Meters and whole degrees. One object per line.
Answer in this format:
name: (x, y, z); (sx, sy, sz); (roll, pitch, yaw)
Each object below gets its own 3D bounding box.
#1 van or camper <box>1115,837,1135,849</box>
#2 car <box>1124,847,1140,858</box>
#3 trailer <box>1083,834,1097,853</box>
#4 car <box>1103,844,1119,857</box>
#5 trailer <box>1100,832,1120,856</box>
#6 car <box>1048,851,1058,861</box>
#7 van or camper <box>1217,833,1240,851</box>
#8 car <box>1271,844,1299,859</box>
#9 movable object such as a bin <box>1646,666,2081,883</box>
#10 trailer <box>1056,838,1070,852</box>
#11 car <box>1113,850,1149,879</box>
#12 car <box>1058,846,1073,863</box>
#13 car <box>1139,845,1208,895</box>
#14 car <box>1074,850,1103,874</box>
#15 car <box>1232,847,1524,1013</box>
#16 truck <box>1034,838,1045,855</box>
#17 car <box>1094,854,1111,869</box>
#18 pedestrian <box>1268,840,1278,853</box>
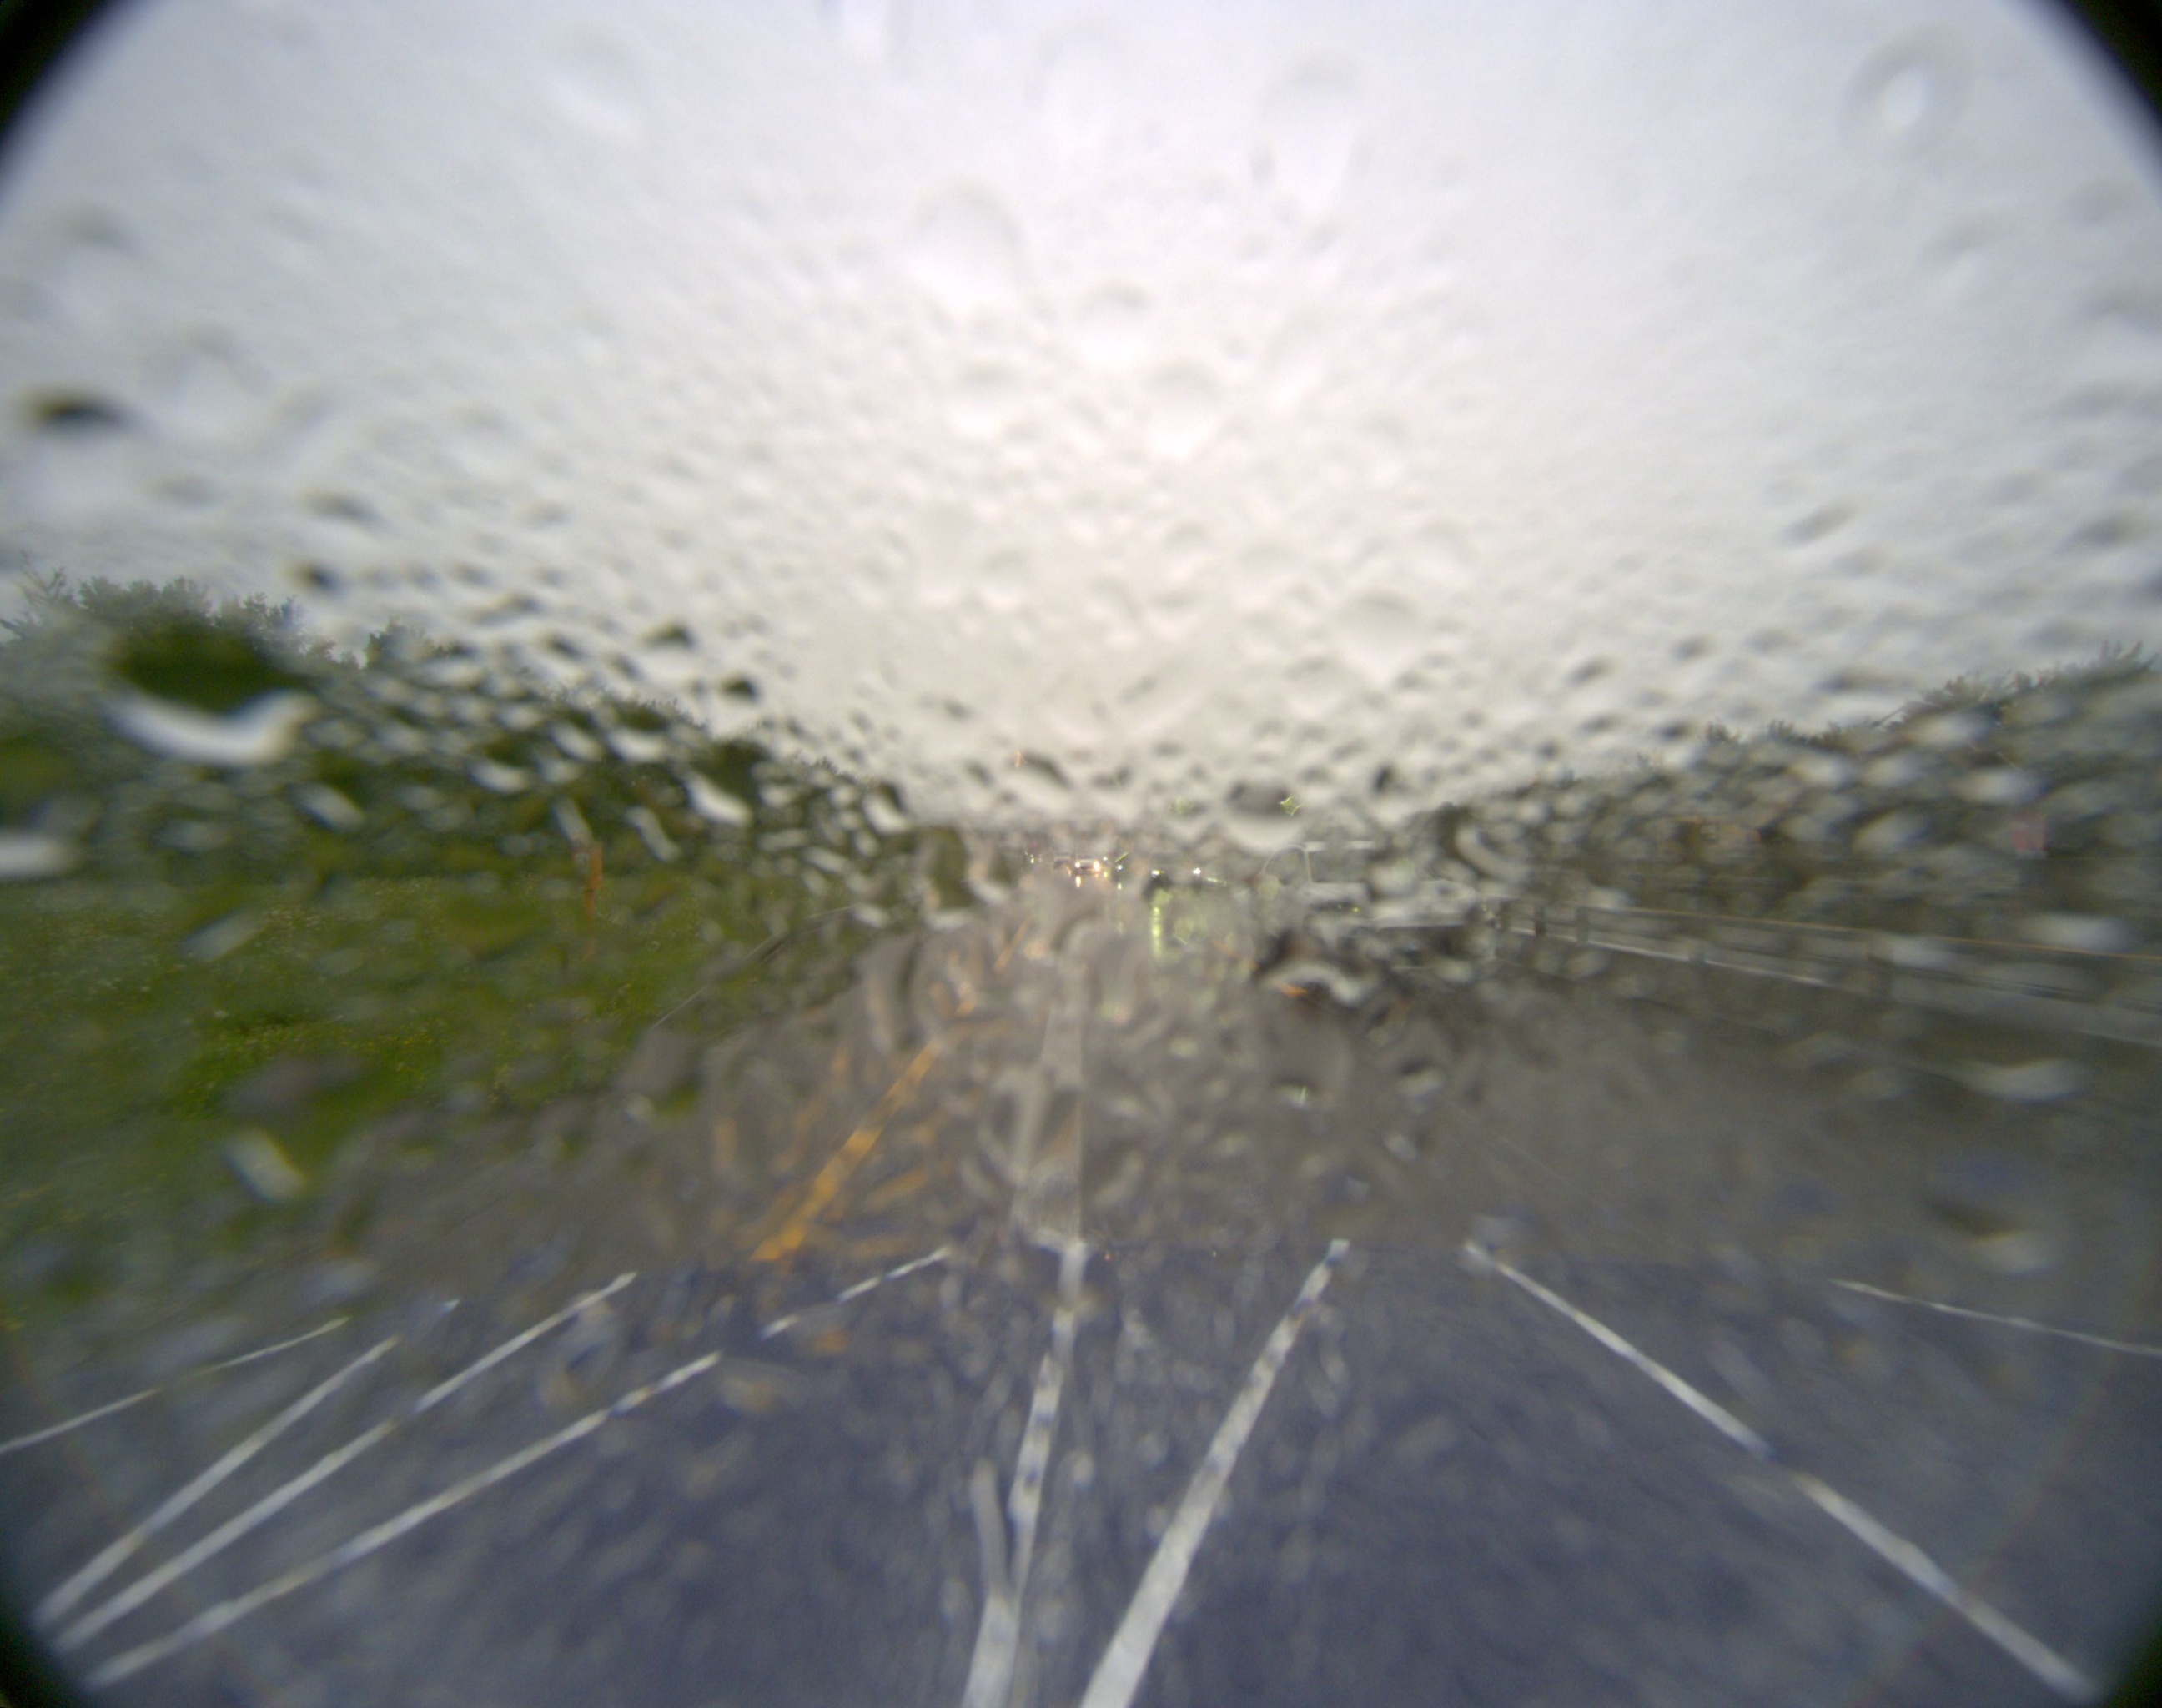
van or camper: (13.459, -3.437, 230.819); (5.423, 3.326, 3.375); (-3, 1, -6)
car: (7.583, -0.227, 112.837); (1.999, 1.497, 4.295); (-2, 1, -1)
trailer: (2.007, -2.401, 170.984); (2.501, 4.027, 12.579); (-1, 2, -2)
car: (4.076, -0.489, 103.548); (1.806, 1.584, 4.182); (-3, 1, -1)
trailer: (5.122, -1.691, 135.606); (2.915, 4.065, 12.218); (-1, 0, -1)
car: (-5.041, 0.310, 137.327); (1.674, 1.804, 3.998); (-1, 1, -4)
van or camper: (37.993, -3.121, 196.008); (3.376, 4.299, 8.502); (-3, 1, -4)
car: (27.696, -0.360, 103.288); (2.099, 1.955, 5.363); (-2, 1, -3)
movable object such as a bin: (26.101, -2.299, 26.877); (4.181, 5.881, 11.044); (-3, 1, 2)
trailer: (-5.659, -2.826, 236.021); (2.608, 4.054, 12.420); (-2, 1, -9)
car: (2.880, 0.571, 44.186); (1.792, 1.481, 3.999); (-3, 1, 1)
car: (-1.737, 0.062, 86.167); (1.673, 1.804, 3.999); (-1, 1, -2)
car: (3.332, 0.518, 28.380); (2.069, 1.618, 5.195); (-2, 1, 2)
car: (0.550, 0.603, 60.870); (1.882, 1.772, 3.997); (-1, 1, -5)
car: (3.405, 0.730, 9.954); (1.932, 1.542, 5.006); (-2, 1, 1)
truck: (-11.131, -2.030, 203.846); (2.507, 4.067, 15.196); (-3, 1, -2)
car: (2.307, 0.833, 82.962); (1.590, 1.528, 3.830); (-1, 1, -2)
pedestrian: (30.451, -1.159, 120.547); (1.108, 2.002, 1.125); (-3, 1, -6)
